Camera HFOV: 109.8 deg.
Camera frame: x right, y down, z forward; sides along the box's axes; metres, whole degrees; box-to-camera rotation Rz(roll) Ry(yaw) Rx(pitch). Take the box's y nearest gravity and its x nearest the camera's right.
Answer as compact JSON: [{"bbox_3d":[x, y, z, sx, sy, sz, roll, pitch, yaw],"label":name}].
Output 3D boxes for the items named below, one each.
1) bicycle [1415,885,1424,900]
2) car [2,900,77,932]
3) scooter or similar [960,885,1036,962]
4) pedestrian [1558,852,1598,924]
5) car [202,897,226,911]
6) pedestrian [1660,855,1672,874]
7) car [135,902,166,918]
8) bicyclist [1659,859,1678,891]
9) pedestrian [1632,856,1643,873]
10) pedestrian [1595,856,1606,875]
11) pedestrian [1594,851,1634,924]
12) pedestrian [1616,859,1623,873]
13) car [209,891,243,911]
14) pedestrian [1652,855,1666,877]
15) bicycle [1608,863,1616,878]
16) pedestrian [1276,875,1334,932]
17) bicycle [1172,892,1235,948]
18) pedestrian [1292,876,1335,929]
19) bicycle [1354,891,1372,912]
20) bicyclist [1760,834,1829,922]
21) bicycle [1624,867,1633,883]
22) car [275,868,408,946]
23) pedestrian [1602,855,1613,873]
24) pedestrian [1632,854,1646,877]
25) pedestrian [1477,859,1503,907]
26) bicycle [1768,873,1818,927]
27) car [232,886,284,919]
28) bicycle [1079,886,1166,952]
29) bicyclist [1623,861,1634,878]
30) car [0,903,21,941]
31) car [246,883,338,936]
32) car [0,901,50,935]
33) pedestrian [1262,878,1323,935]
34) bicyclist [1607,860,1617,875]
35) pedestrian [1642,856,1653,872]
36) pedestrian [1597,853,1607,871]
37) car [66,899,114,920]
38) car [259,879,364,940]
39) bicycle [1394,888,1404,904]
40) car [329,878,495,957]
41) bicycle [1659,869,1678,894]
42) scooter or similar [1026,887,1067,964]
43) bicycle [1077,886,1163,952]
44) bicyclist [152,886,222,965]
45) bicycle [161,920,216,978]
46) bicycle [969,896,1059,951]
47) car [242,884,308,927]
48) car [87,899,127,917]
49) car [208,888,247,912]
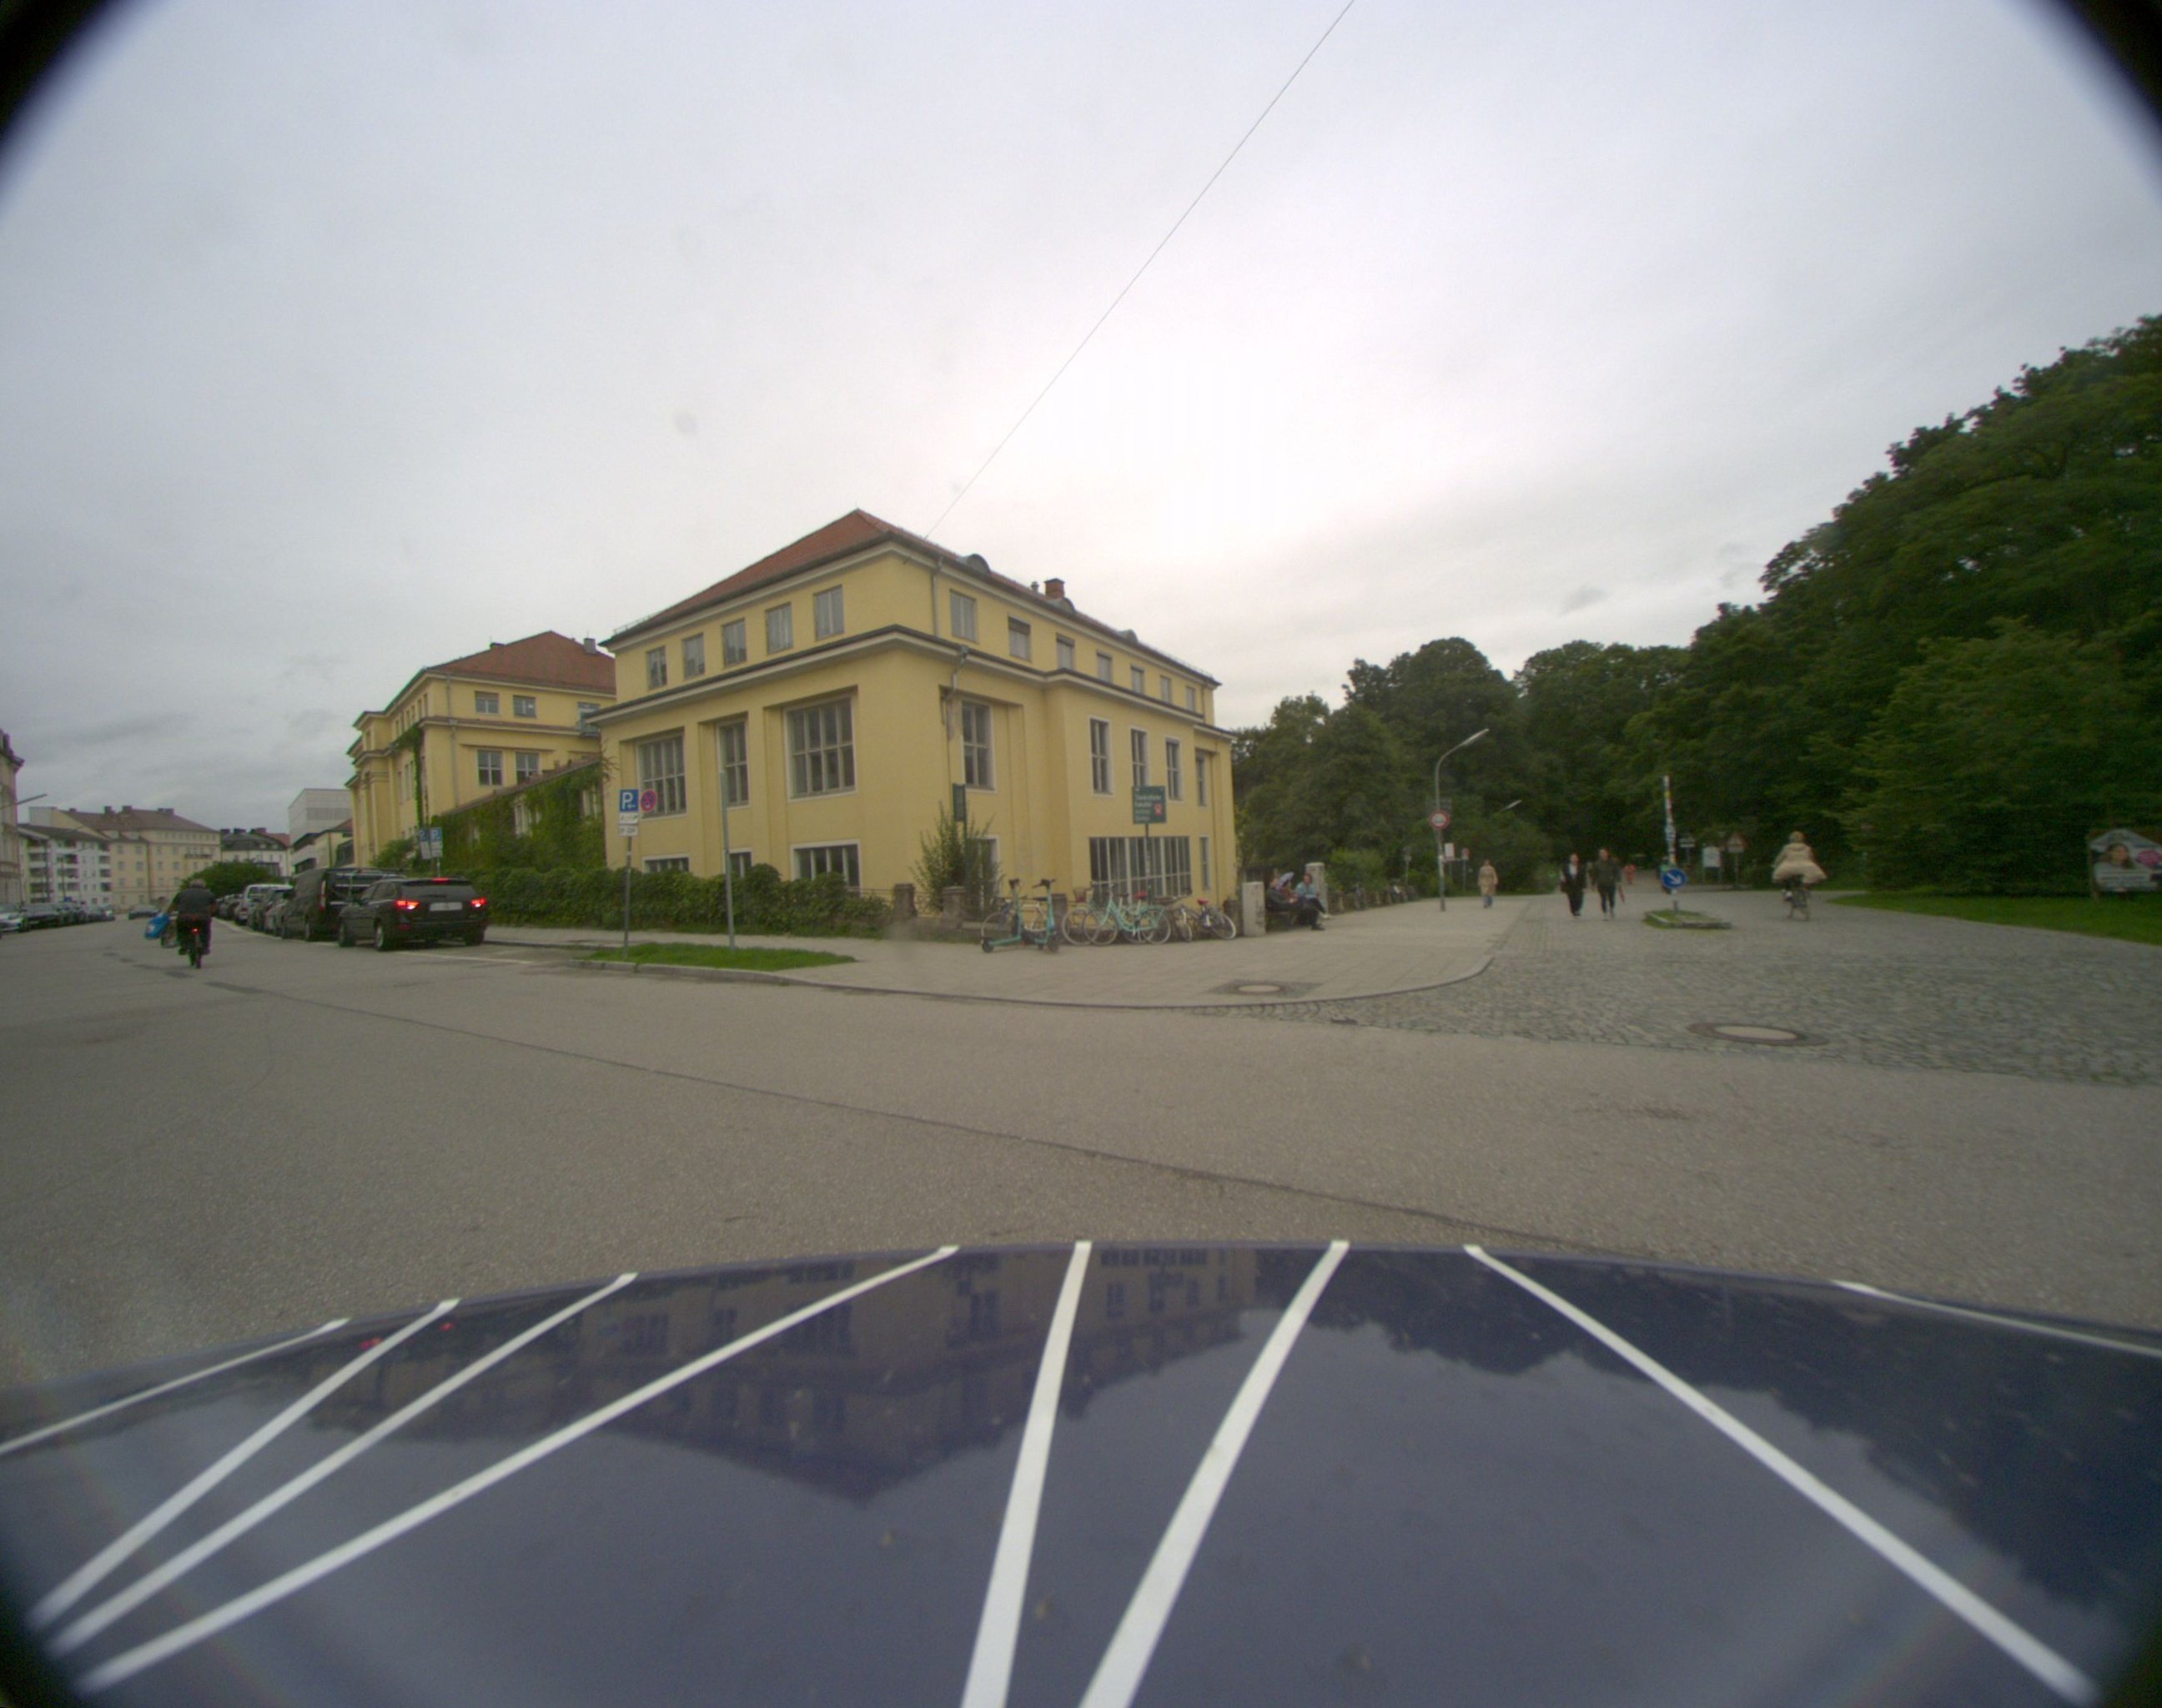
[{"bbox_3d":[16.042,1.829,36.033,0.241,0.653,0.911,0,-1,33],"label":"bicycle"},{"bbox_3d":[-59.944,3.532,43.829,4.727,1.447,1.896,-3,3,43],"label":"car"},{"bbox_3d":[-1.418,1.173,13.169,0.396,1.240,1.393,-2,-1,41],"label":"scooter or similar"},{"bbox_3d":[11.932,0.829,18.234,0.684,1.661,0.775,-4,-4,33],"label":"pedestrian"},{"bbox_3d":[-112.628,6.487,98.737,3.989,1.521,1.775,-2,1,43],"label":"car"},{"bbox_3d":[50.921,0.919,66.158,0.684,1.661,0.775,-4,-4,33],"label":"pedestrian"},{"bbox_3d":[-91.354,5.439,74.642,3.825,1.334,1.798,-2,1,40],"label":"car"},{"bbox_3d":[25.811,0.931,33.406,0.563,1.366,0.763,-2,-2,33],"label":"bicyclist"},{"bbox_3d":[58.691,1.103,80.112,0.741,1.661,0.923,-4,-4,33],"label":"pedestrian"},{"bbox_3d":[47.792,1.060,69.880,0.684,1.661,0.775,-4,-4,33],"label":"pedestrian"},{"bbox_3d":[12.562,0.796,17.917,0.638,1.661,0.775,-4,-4,33],"label":"pedestrian"},{"bbox_3d":[50.093,1.095,70.724,0.470,1.258,0.449,-2,2,32],"label":"pedestrian"},{"bbox_3d":[-83.079,4.567,73.803,4.669,1.825,1.981,-3,-2,39],"label":"car"},{"bbox_3d":[44.900,0.940,59.024,0.684,1.661,0.775,-4,-4,33],"label":"pedestrian"},{"bbox_3d":[44.606,1.385,63.814,0.463,1.054,1.764,-2,2,33],"label":"bicycle"},{"bbox_3d":[5.315,1.183,18.024,1.175,1.285,0.641,-4,-4,22],"label":"pedestrian"},{"bbox_3d":[2.475,1.297,15.227,1.658,1.032,0.306,1,-1,-43],"label":"bicycle"},{"bbox_3d":[5.680,1.186,18.567,0.885,1.226,0.551,-4,-4,22],"label":"pedestrian"},{"bbox_3d":[9.769,1.642,26.321,0.215,0.671,0.911,-1,-1,44],"label":"bicycle"},{"bbox_3d":[14.972,0.497,15.970,0.855,1.792,0.768,-3,0,33],"label":"bicyclist"},{"bbox_3d":[41.249,1.550,57.237,0.463,1.054,1.764,-2,2,33],"label":"bicycle"},{"bbox_3d":[-21.874,1.523,22.420,4.669,2.059,1.981,-2,-1,35],"label":"car"},{"bbox_3d":[49.763,0.929,71.843,0.684,1.661,0.775,-4,-4,33],"label":"pedestrian"},{"bbox_3d":[41.826,0.888,56.949,0.684,1.661,0.775,-4,-4,33],"label":"pedestrian"},{"bbox_3d":[14.706,1.061,27.329,0.652,1.675,0.977,-4,-4,33],"label":"pedestrian"},{"bbox_3d":[15.039,0.946,16.082,0.482,1.034,1.950,-2,-1,35],"label":"bicycle"},{"bbox_3d":[-49.757,2.890,45.920,4.669,1.825,1.981,-3,-2,41],"label":"car"},{"bbox_3d":[0.783,1.198,14.118,1.655,1.191,0.169,0,-1,-16],"label":"bicycle"},{"bbox_3d":[41.277,1.173,57.298,0.563,1.258,0.763,-2,2,33],"label":"bicyclist"},{"bbox_3d":[-44.473,2.834,30.300,4.590,1.447,1.896,-3,3,43],"label":"car"},{"bbox_3d":[-30.294,2.084,29.126,4.669,1.825,1.981,-3,-1,38],"label":"car"},{"bbox_3d":[-53.425,3.222,37.810,4.727,1.447,1.896,-3,3,43],"label":"car"},{"bbox_3d":[4.795,1.197,17.235,1.214,1.239,0.641,-4,-4,22],"label":"pedestrian"},{"bbox_3d":[44.602,1.136,63.817,0.563,1.258,0.763,-2,2,33],"label":"bicyclist"},{"bbox_3d":[59.357,1.074,79.590,0.741,1.661,0.923,-4,-4,33],"label":"pedestrian"},{"bbox_3d":[51.398,0.800,74.945,0.684,1.661,0.775,-4,-4,33],"label":"pedestrian"},{"bbox_3d":[-82.808,4.577,63.563,4.727,1.447,1.896,-3,3,43],"label":"car"},{"bbox_3d":[-25.973,1.804,25.589,4.669,1.825,1.981,-3,-1,38],"label":"car"},{"bbox_3d":[13.512,1.774,32.251,0.215,0.671,0.911,0,-1,35],"label":"bicycle"},{"bbox_3d":[-16.650,1.516,18.859,4.613,1.698,1.941,-2,-1,34],"label":"car"},{"bbox_3d":[25.835,1.199,33.413,0.463,1.053,1.765,-2,-2,33],"label":"bicycle"},{"bbox_3d":[-0.589,1.164,12.719,0.324,1.205,1.116,-1,-1,-21],"label":"scooter or similar"},{"bbox_3d":[0.741,1.210,14.312,1.655,1.184,0.202,0,-1,-16],"label":"bicycle"},{"bbox_3d":[-17.521,1.375,14.897,0.742,1.449,0.844,-2,-1,38],"label":"bicyclist"},{"bbox_3d":[-17.534,1.832,14.915,1.713,1.011,0.624,-2,-1,38],"label":"bicycle"},{"bbox_3d":[-1.241,1.292,14.129,1.652,0.987,0.249,0,-1,8],"label":"bicycle"},{"bbox_3d":[-37.966,2.388,35.763,4.669,1.825,1.981,-3,-2,41],"label":"car"},{"bbox_3d":[-94.500,5.198,73.779,4.727,1.447,1.896,-3,3,43],"label":"car"},{"bbox_3d":[-71.780,3.852,63.895,4.669,1.825,1.981,-3,-2,39],"label":"car"}]
